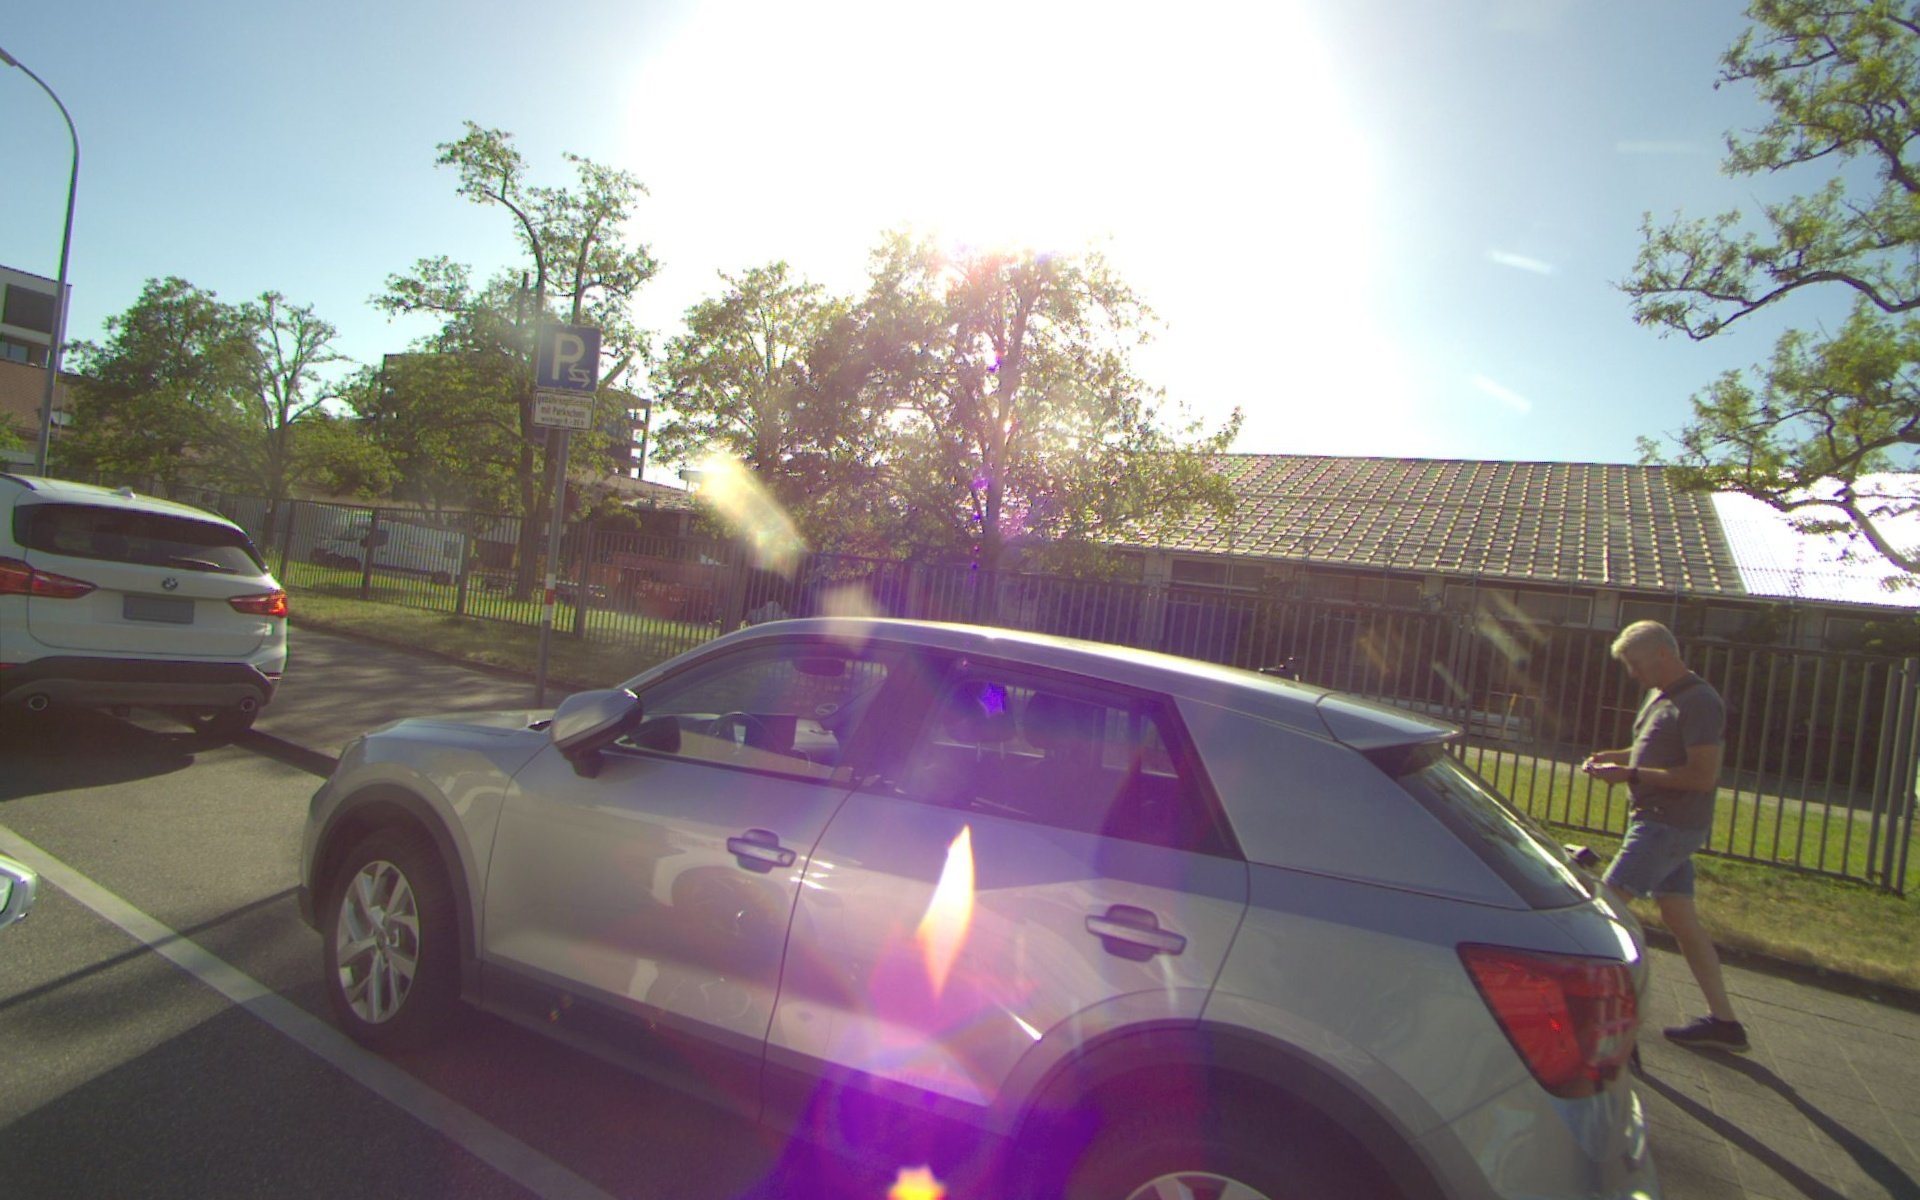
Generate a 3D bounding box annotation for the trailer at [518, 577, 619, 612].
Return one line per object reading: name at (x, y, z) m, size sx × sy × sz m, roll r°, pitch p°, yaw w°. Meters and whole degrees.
trailer at (-17.430, -0.260, 44.658) m, size 5.034 × 0.930 × 1.897 m, roll 7°, pitch -1°, yaw 39°

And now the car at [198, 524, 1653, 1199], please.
car at (-0.360, 0.796, 3.218) m, size 3.911 × 1.504 × 1.705 m, roll 7°, pitch -2°, yaw 28°

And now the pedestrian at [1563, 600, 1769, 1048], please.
pedestrian at (3.003, 0.910, 4.327) m, size 0.514 × 1.728 × 0.522 m, roll 7°, pitch -2°, yaw 30°

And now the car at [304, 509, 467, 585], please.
car at (-23.346, -2.091, 41.093) m, size 1.969 × 2.228 × 5.286 m, roll 9°, pitch 0°, yaw 36°

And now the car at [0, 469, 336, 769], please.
car at (-6.611, -0.040, 7.081) m, size 4.189 × 1.606 × 1.818 m, roll 7°, pitch -2°, yaw 29°

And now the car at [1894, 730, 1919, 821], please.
car at (17.917, 3.173, 16.762) m, size 2.059 × 1.662 × 4.982 m, roll 7°, pitch -3°, yaw 28°
